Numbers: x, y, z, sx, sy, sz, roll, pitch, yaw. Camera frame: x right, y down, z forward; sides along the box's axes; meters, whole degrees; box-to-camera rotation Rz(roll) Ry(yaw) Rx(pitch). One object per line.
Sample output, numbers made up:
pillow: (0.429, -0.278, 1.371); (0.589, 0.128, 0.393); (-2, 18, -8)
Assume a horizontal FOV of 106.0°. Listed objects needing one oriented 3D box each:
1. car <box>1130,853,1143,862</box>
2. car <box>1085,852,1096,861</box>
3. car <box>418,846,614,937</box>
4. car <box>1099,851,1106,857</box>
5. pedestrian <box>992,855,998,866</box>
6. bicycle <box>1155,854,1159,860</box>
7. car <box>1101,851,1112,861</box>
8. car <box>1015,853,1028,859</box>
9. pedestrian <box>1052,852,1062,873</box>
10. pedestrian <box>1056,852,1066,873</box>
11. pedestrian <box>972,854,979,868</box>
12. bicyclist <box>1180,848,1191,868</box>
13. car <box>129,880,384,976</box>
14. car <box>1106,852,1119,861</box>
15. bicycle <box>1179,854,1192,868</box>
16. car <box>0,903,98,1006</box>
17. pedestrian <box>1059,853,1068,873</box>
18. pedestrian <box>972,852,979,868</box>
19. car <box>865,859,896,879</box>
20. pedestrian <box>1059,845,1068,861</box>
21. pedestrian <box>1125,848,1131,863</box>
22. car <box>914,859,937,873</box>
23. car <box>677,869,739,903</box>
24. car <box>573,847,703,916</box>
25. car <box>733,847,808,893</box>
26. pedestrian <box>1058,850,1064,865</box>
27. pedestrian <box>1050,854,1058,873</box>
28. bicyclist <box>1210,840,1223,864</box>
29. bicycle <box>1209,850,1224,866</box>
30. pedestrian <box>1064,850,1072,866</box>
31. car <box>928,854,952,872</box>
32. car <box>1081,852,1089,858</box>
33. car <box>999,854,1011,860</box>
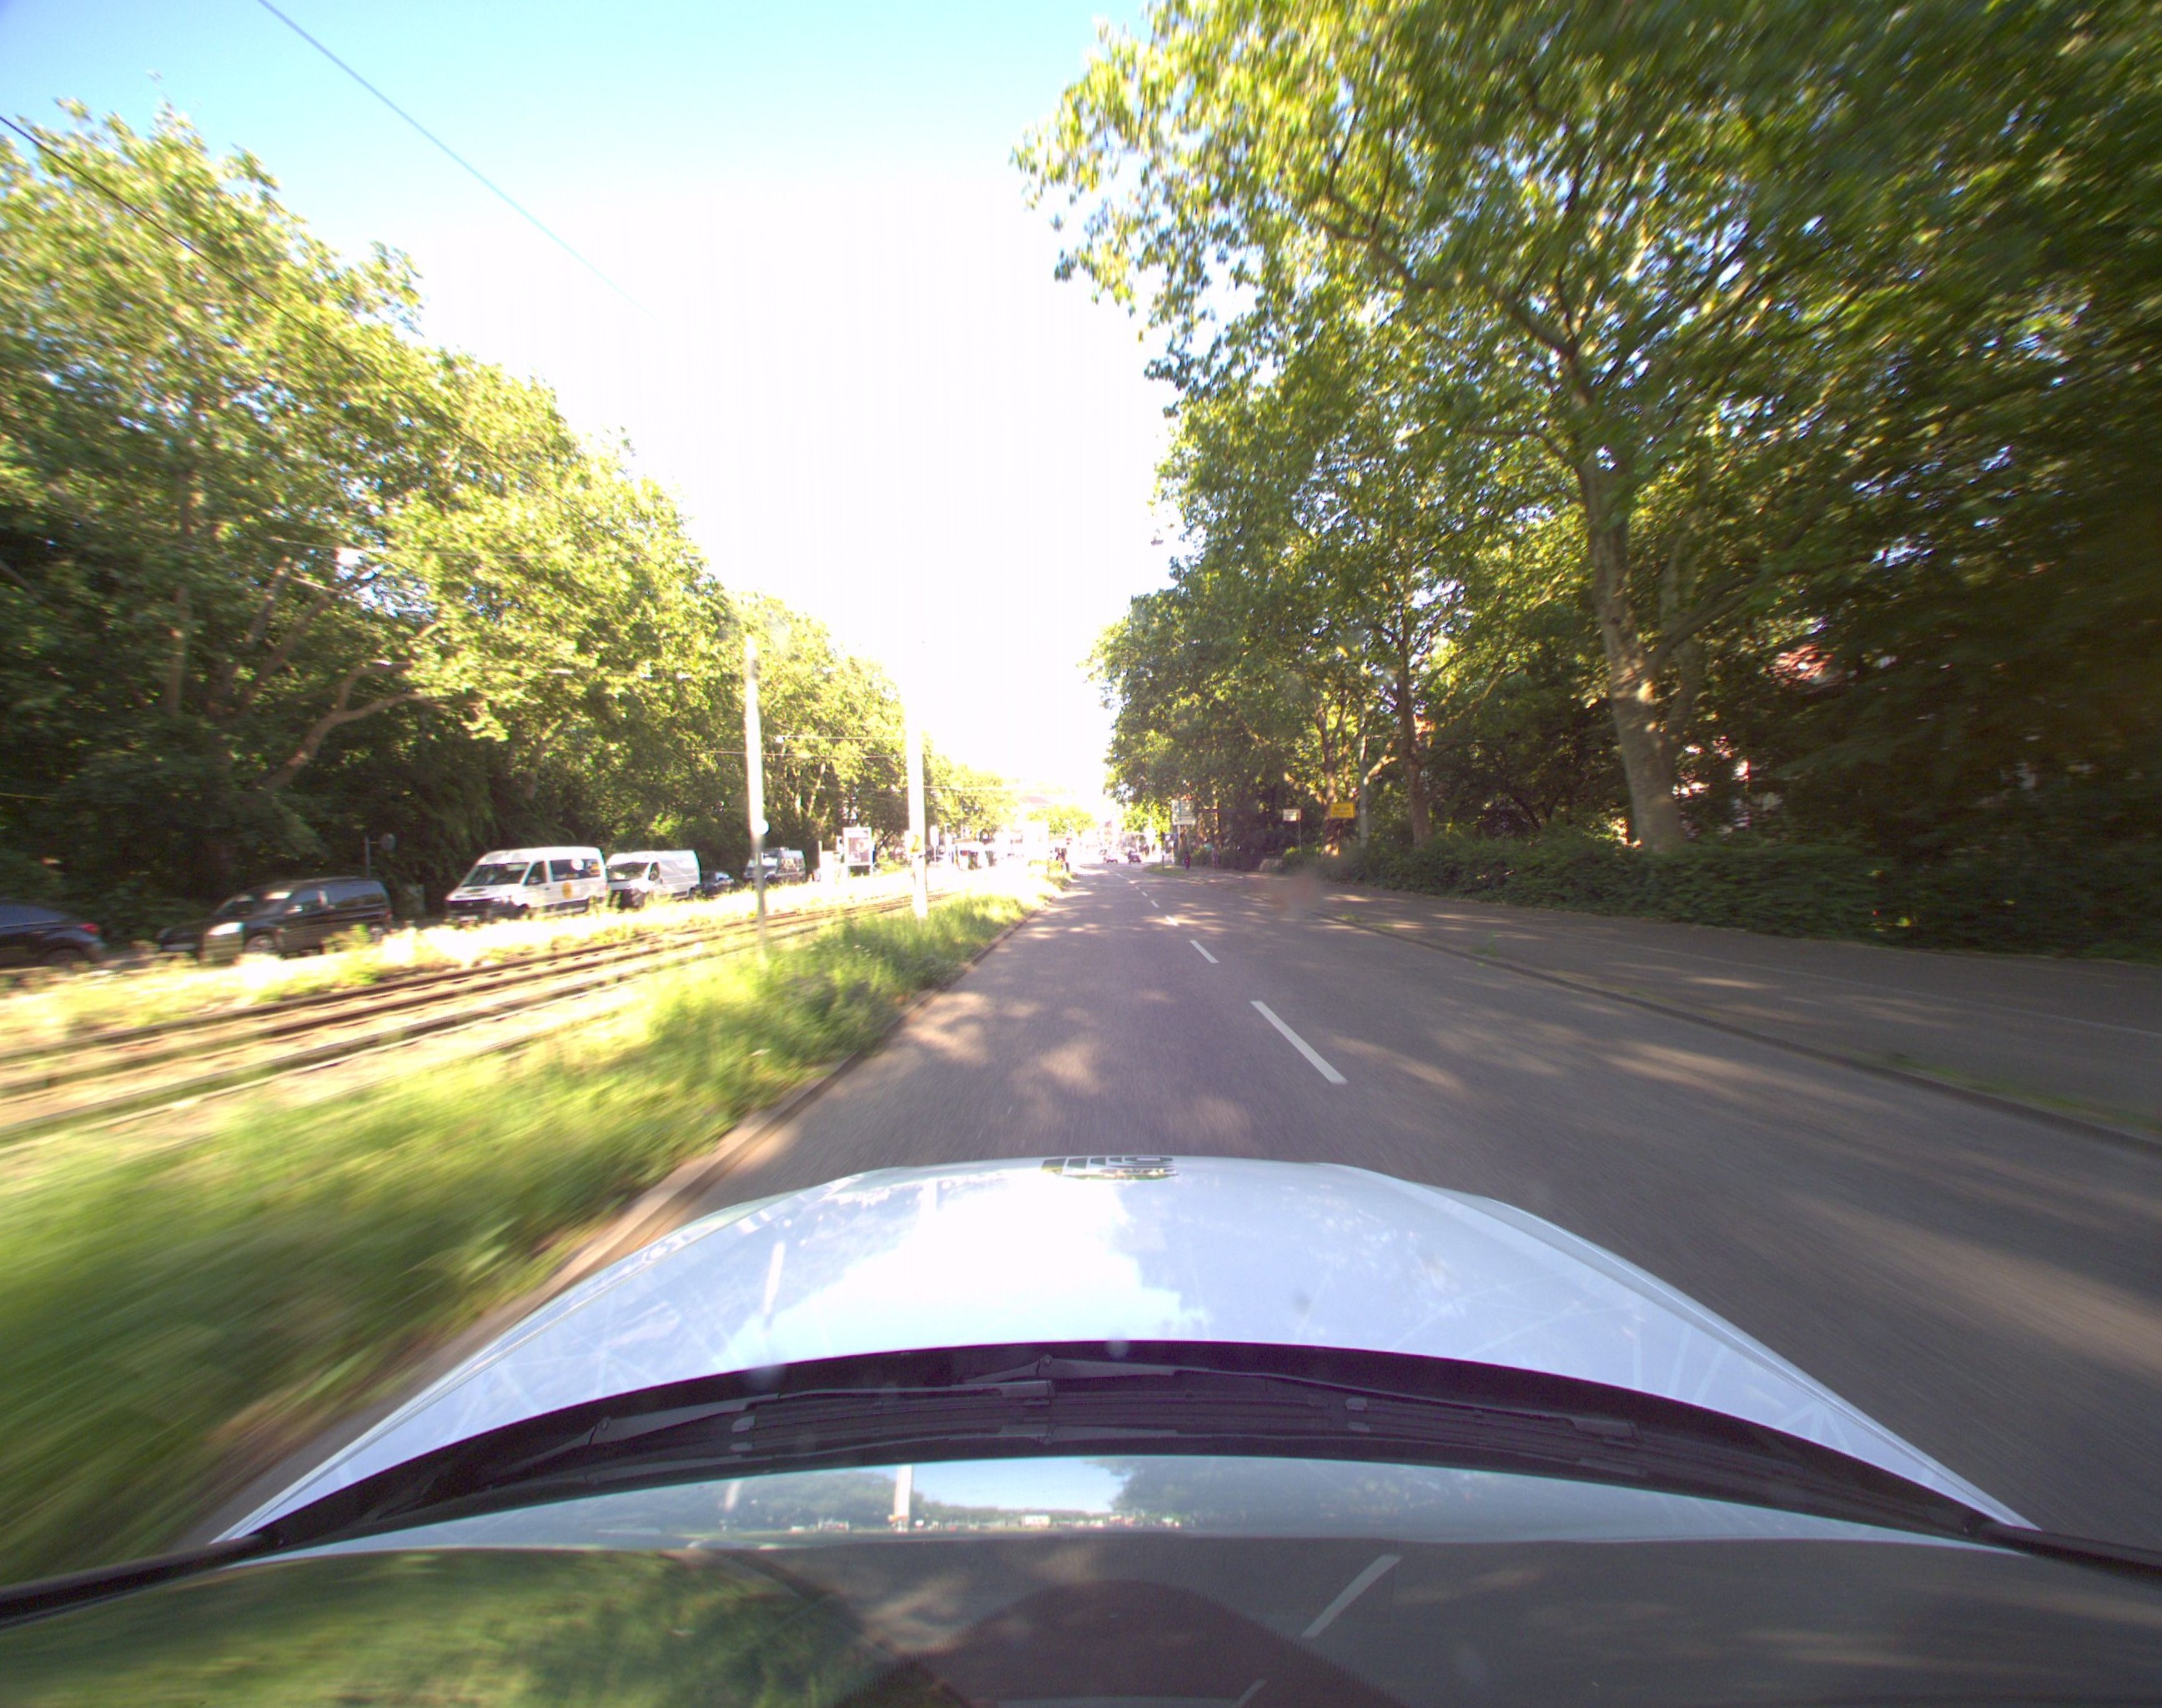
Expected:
car: (8.865, 0.578, 130.935); (1.794, 1.439, 4.045); (0, 0, 0)
car: (1.680, 0.450, 145.010); (1.802, 1.452, 3.999); (-1, 0, 0)
car: (-18.141, 1.116, 26.682); (2.178, 2.520, 6.046); (-4, 0, -2)
car: (6.697, -0.123, 253.345); (1.783, 1.826, 4.012); (-2, 0, 10)
pedestrian: (-11.418, 0.868, 108.235); (0.668, 1.324, 0.756); (-4, 0, -2)
bicycle: (13.614, 0.478, 146.362); (0.497, 1.075, 1.800); (-1, -1, 0)
car: (4.498, 0.299, 143.274); (1.795, 1.638, 4.044); (-1, 0, 0)
car: (-16.310, 0.557, 222.902); (1.905, 1.649, 4.202); (-2, 0, 21)
pedestrian: (-1.811, 0.641, 61.413); (0.515, 1.568, 0.511); (-4, -1, 30)
pedestrian: (-1.528, 0.642, 61.821); (0.515, 1.568, 0.511); (-4, -1, 30)
pedestrian: (-11.871, 0.787, 91.709); (0.591, 1.544, 0.627); (-1, -1, 0)
bicyclist: (8.352, 0.327, 64.894); (0.764, 1.513, 0.650); (-2, 0, -1)
car: (-18.202, 1.535, 18.280); (1.734, 1.728, 3.879); (-4, 0, -2)
car: (5.230, 0.390, 135.867); (1.923, 1.472, 4.854); (-1, 0, 0)
bicycle: (8.357, 0.561, 64.945); (0.764, 1.107, 1.800); (-2, 0, 0)
car: (-17.965, 1.672, 12.203); (1.734, 1.555, 3.879); (-4, 0, -2)
pedestrian: (-1.337, 0.672, 62.401); (0.587, 1.519, 0.514); (-4, 0, 0)
pedestrian: (-11.975, 0.682, 92.391); (0.645, 1.772, 0.650); (-1, -1, 2)
car: (-17.937, 1.339, 72.994); (1.898, 1.652, 3.968); (-4, 0, -3)
pedestrian: (-1.915, -0.143, 89.990); (0.656, 1.722, 0.702); (0, 0, -36)
pedestrian: (6.188, 0.189, 107.174); (0.655, 1.871, 0.677); (-2, 0, 0)
car: (-17.714, 1.376, 93.157); (1.789, 1.510, 4.339); (-4, 0, -1)
car: (-18.721, 1.583, 41.047); (1.648, 1.512, 3.262); (-4, 0, -3)
car: (-18.556, 1.081, 34.575); (2.179, 2.520, 6.265); (-4, 0, -3)
car: (-18.730, 0.928, 49.483); (2.177, 2.520, 6.029); (-4, 0, -1)
pedestrian: (-2.095, 0.319, 85.281); (0.586, 1.567, 0.650); (0, 0, 1)
pedestrian: (-2.110, 0.742, 63.226); (0.518, 1.472, 0.514); (-4, 0, 1)
bicyclist: (9.875, -0.145, 59.552); (0.697, 1.728, 1.079); (-2, 0, -1)
bicycle: (9.886, 0.282, 59.549); (0.697, 1.107, 1.929); (-2, 0, -1)
pedestrian: (-1.358, 0.400, 85.400); (0.740, 1.694, 0.791); (0, 0, 1)
car: (-17.613, 1.137, 101.981); (2.061, 2.124, 5.087); (-4, 0, -1)
car: (1.193, 0.323, 237.818); (1.784, 1.510, 4.008); (-2, 0, 7)
car: (-20.995, 0.748, 225.557); (1.779, 1.510, 4.030); (-2, 0, 19)
